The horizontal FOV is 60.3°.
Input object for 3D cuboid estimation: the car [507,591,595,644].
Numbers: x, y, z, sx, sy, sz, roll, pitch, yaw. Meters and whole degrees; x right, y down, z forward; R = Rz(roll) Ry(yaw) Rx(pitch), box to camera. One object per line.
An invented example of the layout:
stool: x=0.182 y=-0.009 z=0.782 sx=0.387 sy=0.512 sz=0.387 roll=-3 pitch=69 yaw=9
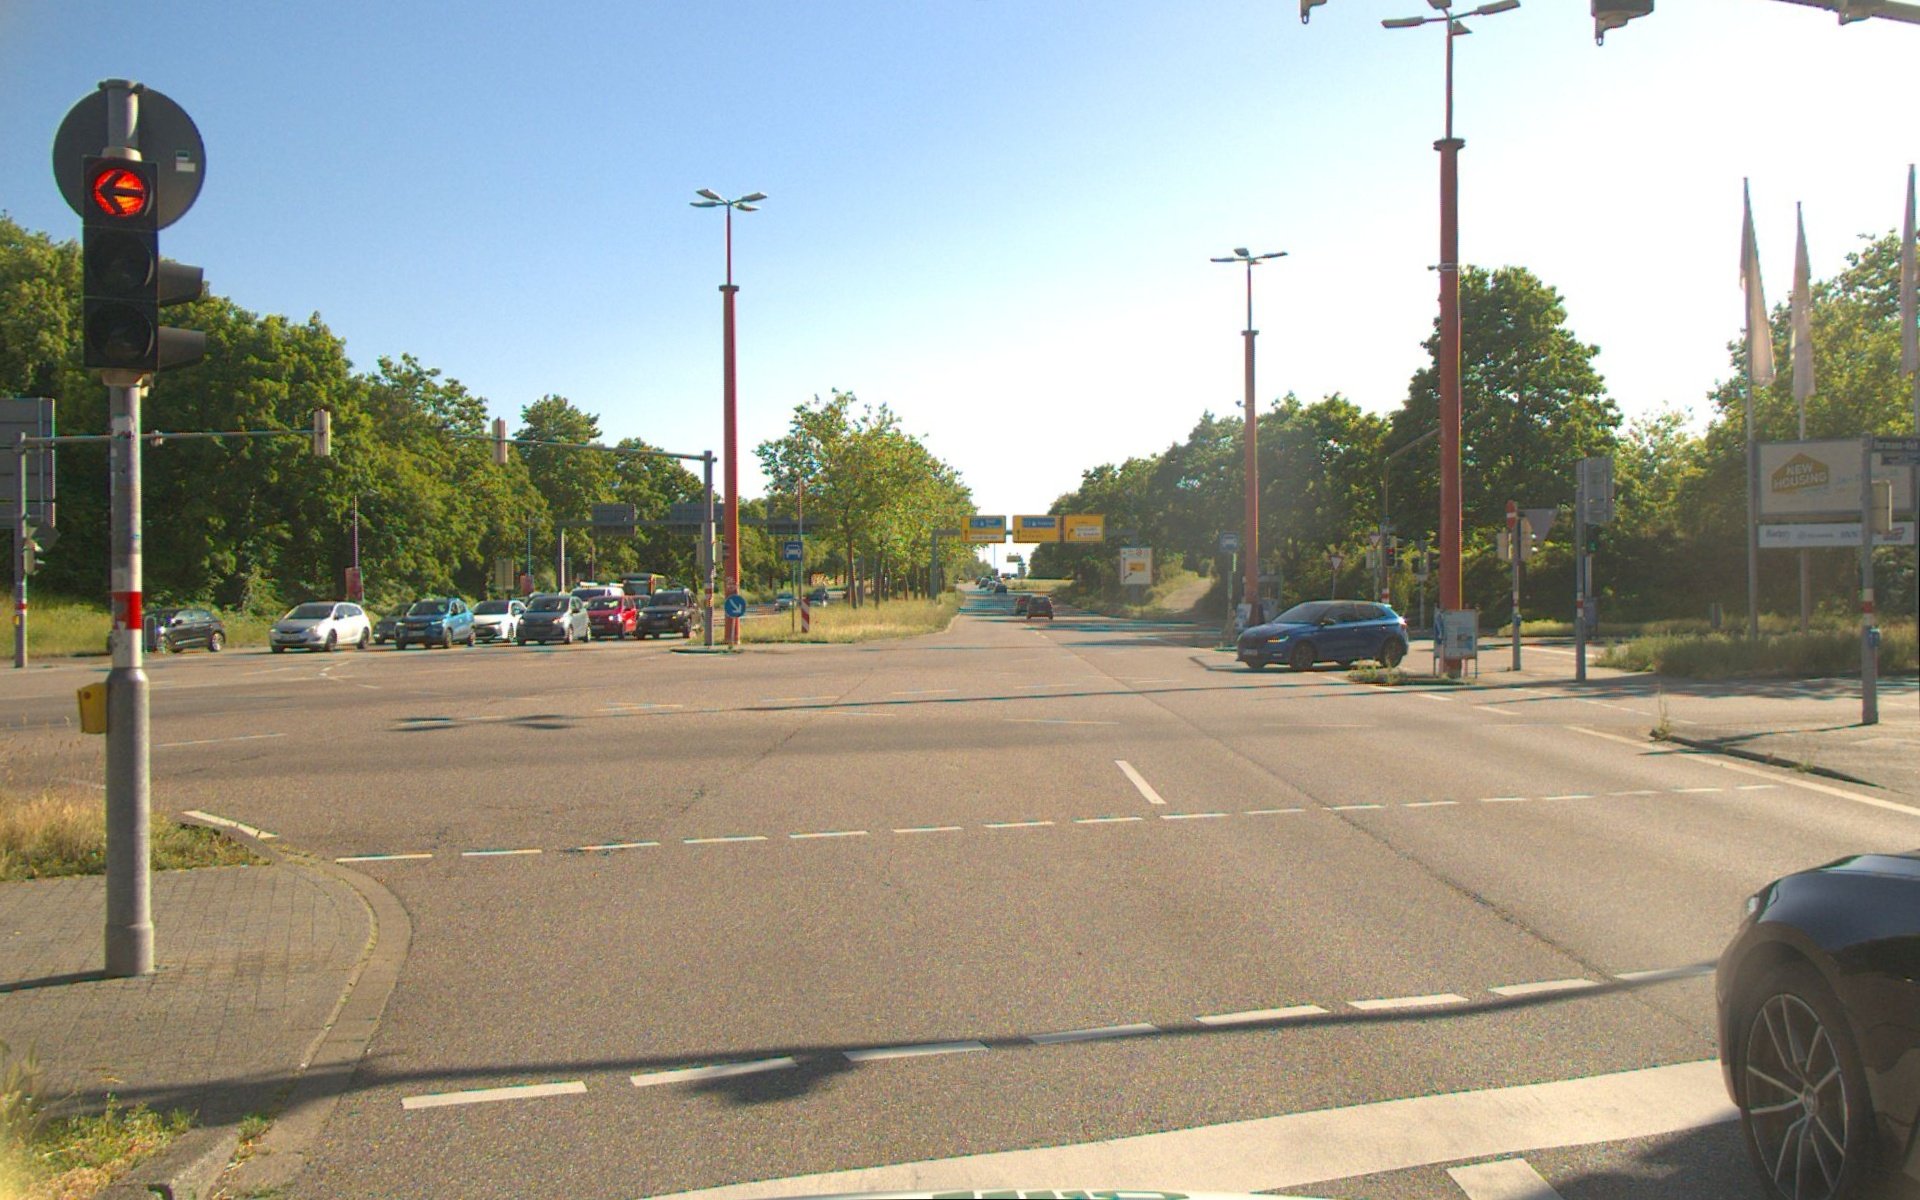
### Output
car: x=-12.805 y=0.521 z=51.970 sx=1.954 sy=1.601 sz=4.118 roll=0 pitch=0 yaw=-4

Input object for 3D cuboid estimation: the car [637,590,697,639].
car: x=-9.874 y=0.471 z=55.996 sx=1.841 sy=1.601 sz=4.113 roll=0 pitch=0 yaw=-8

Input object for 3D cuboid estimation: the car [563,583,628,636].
car: x=-15.671 y=0.387 z=71.270 sx=2.021 sy=2.231 sz=4.376 roll=0 pitch=0 yaw=-3

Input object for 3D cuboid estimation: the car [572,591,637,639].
car: x=-12.478 y=0.507 z=58.276 sx=1.956 sy=1.601 sz=4.113 roll=0 pitch=0 yaw=-8

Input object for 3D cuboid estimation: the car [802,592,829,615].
car: x=-10.227 y=0.265 z=117.175 sx=1.840 sy=1.601 sz=4.116 roll=0 pitch=0 yaw=-5

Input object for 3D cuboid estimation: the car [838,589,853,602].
car: x=-14.435 y=-0.591 z=208.763 sx=1.840 sy=1.601 sz=4.116 roll=0 pitch=0 yaw=-5

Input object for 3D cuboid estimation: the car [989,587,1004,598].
car: x=5.312 y=-1.095 z=240.220 sx=2.114 sy=1.601 sz=4.281 roll=0 pitch=0 yaw=1

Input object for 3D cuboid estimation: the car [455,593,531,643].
car: x=-15.990 y=0.597 z=56.789 sx=1.956 sy=1.601 sz=4.113 roll=-1 pitch=0 yaw=-8

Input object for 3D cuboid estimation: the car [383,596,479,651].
car: x=-16.208 y=0.682 z=50.896 sx=1.955 sy=1.601 sz=4.116 roll=0 pitch=0 yaw=-5

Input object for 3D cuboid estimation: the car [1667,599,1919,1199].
car: x=2.971 y=0.711 z=2.365 sx=1.953 sy=1.419 sz=4.476 roll=0 pitch=0 yaw=-1

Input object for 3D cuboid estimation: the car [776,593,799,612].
car: x=-14.834 y=0.218 z=142.441 sx=1.840 sy=1.601 sz=4.116 roll=0 pitch=0 yaw=-5

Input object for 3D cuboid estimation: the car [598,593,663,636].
car: x=-12.711 y=0.528 z=64.051 sx=1.954 sy=1.601 sz=4.117 roll=0 pitch=0 yaw=-4

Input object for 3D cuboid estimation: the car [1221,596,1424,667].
car: x=7.951 y=0.645 z=36.210 sx=4.221 sy=1.453 sz=1.865 roll=0 pitch=0 yaw=-30

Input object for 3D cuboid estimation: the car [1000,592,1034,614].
car: x=4.294 y=0.193 z=124.754 sx=2.116 sy=1.601 sz=4.579 roll=0 pitch=0 yaw=-4

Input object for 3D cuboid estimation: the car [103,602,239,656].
car: x=-25.032 y=0.893 z=52.612 sx=1.951 sy=1.626 sz=4.225 roll=0 pitch=0 yaw=6

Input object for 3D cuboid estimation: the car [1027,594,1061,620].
car: x=5.310 y=0.441 z=104.699 sx=2.114 sy=1.601 sz=4.282 roll=0 pitch=0 yaw=2

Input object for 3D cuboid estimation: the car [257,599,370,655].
car: x=-19.586 y=0.785 z=50.303 sx=1.954 sy=1.601 sz=4.118 roll=0 pitch=0 yaw=-3
